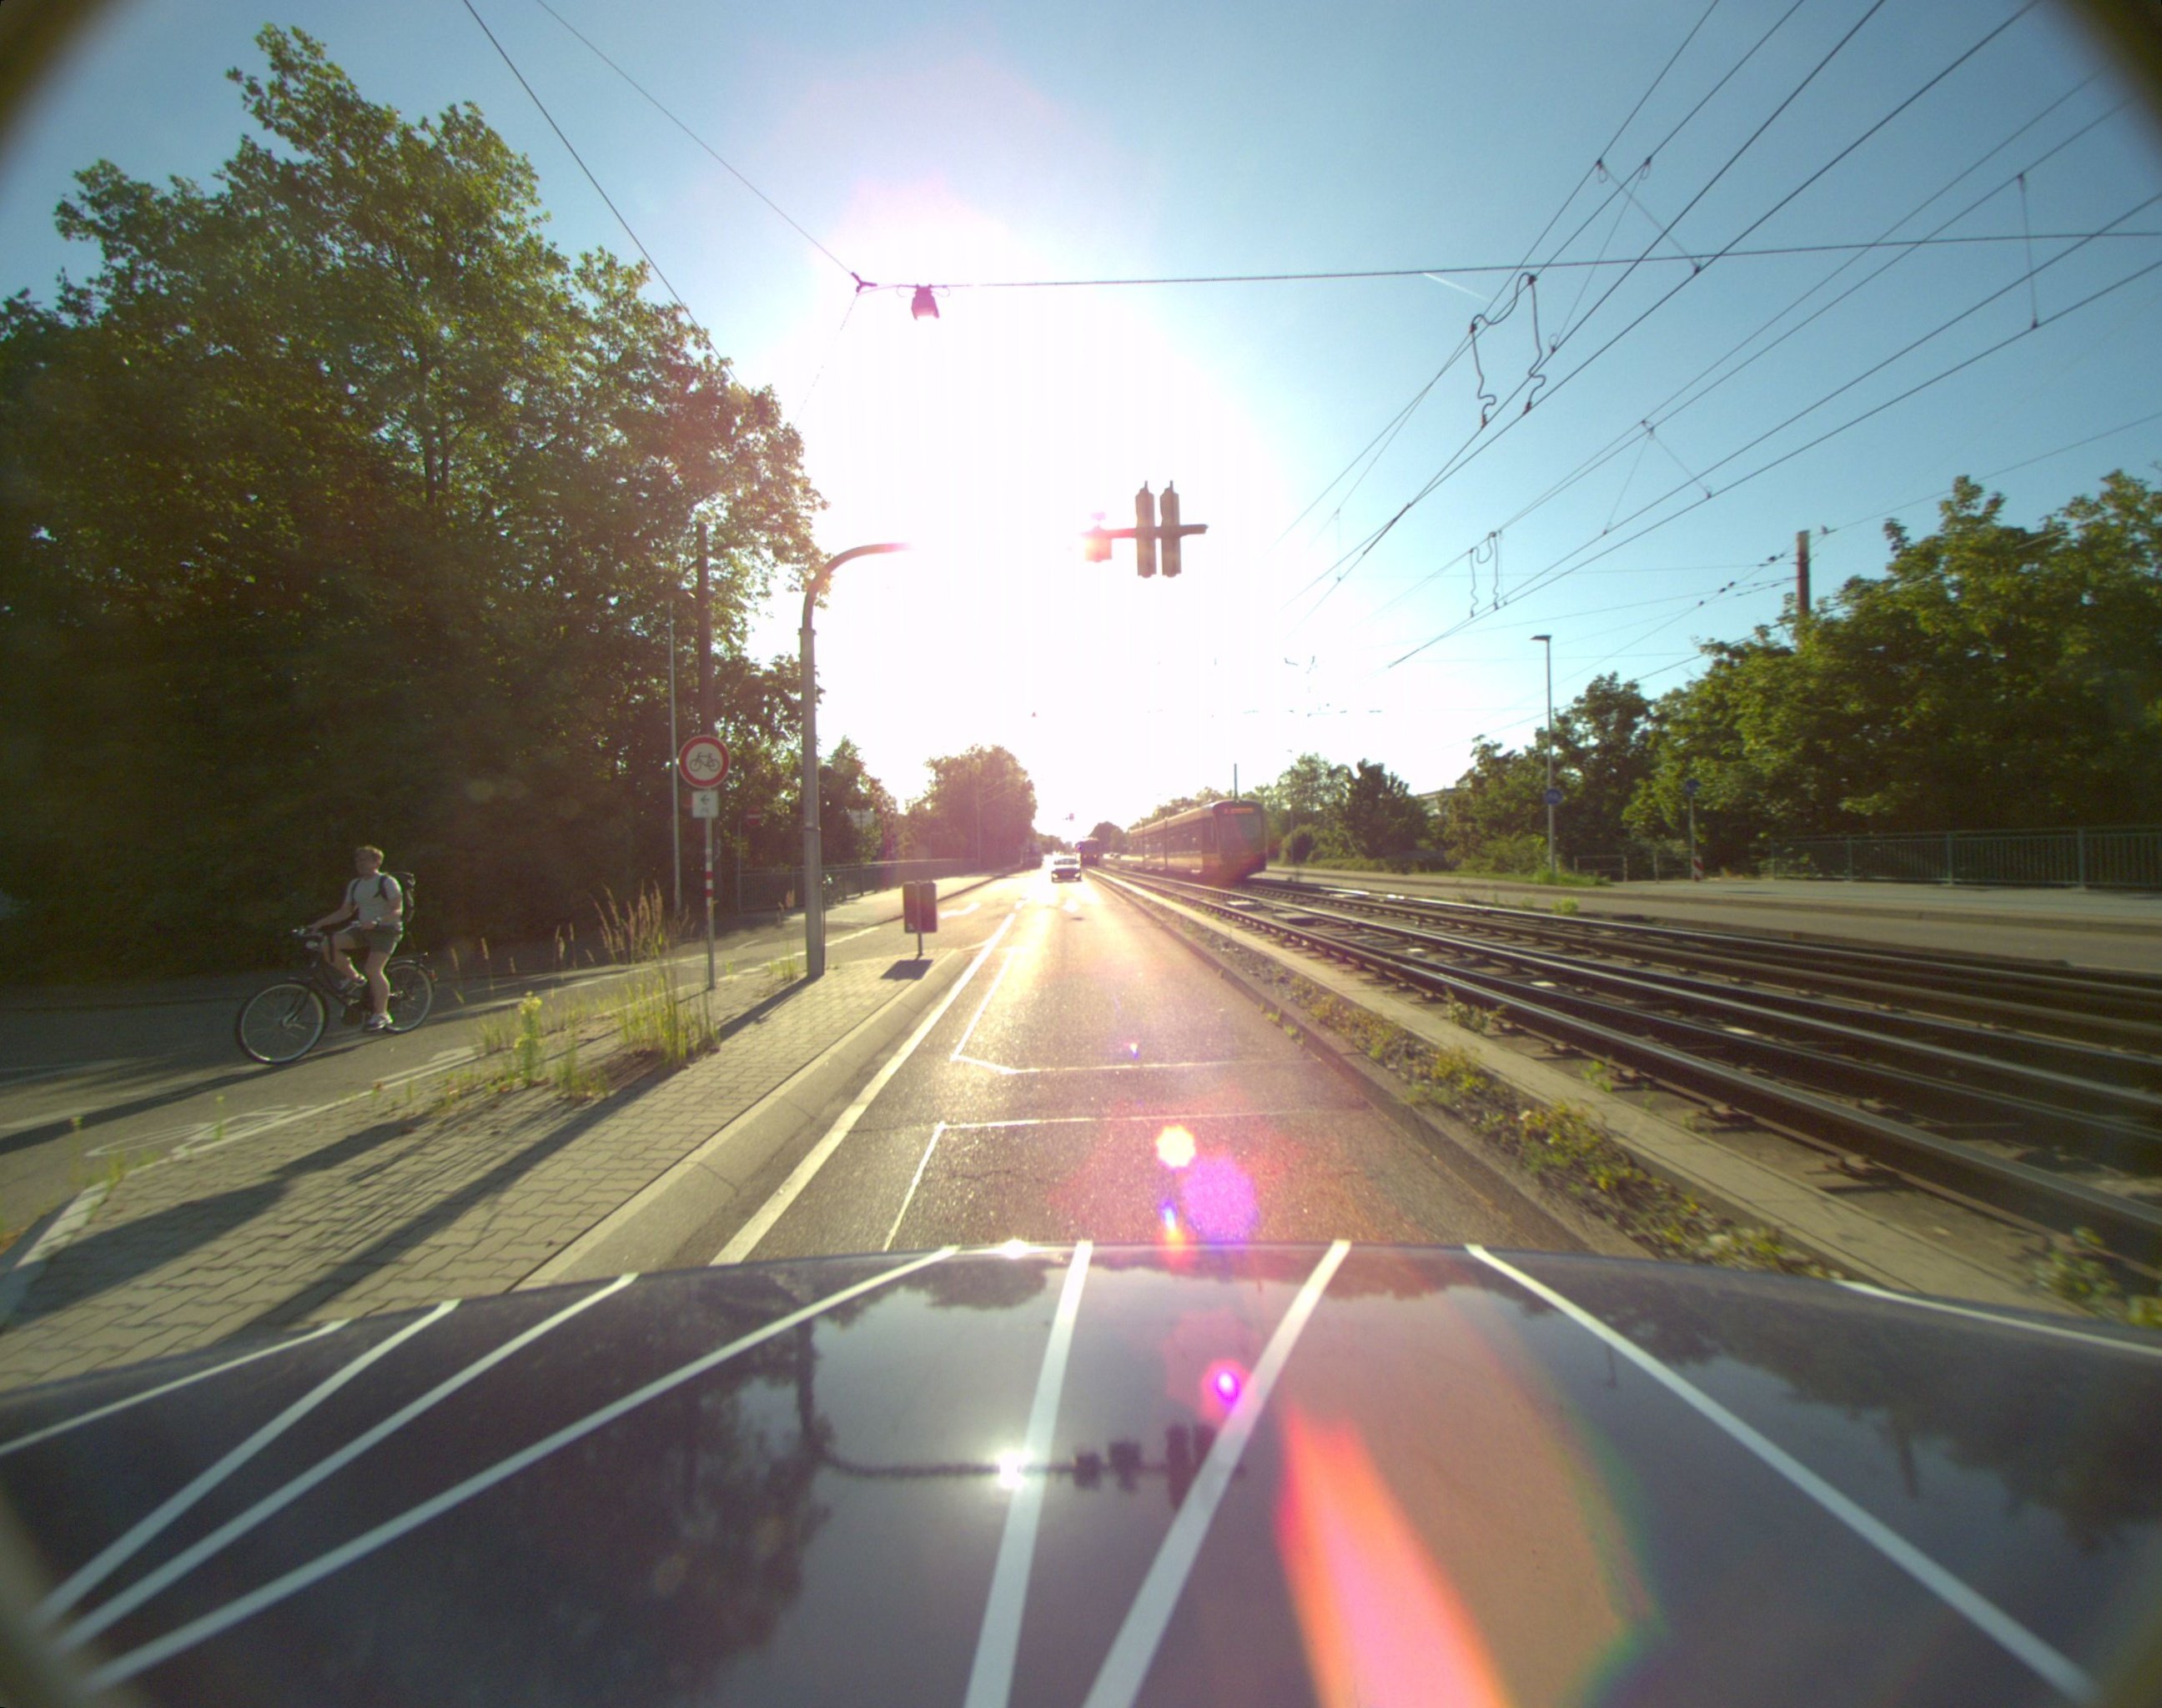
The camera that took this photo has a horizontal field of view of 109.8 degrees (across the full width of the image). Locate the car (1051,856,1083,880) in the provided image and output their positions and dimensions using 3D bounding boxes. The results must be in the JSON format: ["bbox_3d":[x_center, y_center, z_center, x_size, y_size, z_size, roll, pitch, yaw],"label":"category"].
[{"bbox_3d":[-0.858,0.793,44.983,1.802,1.345,3.999,-1,0,-2],"label":"car"}]

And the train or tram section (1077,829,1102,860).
[{"bbox_3d":[1.059,-1.206,102.006,2.569,3.878,11.668,-2,0,-2],"label":"train or tram section"}]

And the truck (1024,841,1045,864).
[{"bbox_3d":[-6.752,-0.283,111.410,2.610,3.186,7.868,-2,0,-2],"label":"truck"}]

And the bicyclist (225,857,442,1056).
[{"bbox_3d":[-6.993,0.894,7.199,0.733,1.679,1.202,-4,0,-1],"label":"bicyclist"}]

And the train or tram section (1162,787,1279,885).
[{"bbox_3d":[6.362,-0.763,37.260,2.986,3.878,12.698,-2,0,-1],"label":"train or tram section"}]

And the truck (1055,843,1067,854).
[{"bbox_3d":[-5.944,-1.634,227.159,3.314,3.283,15.318,-2,0,-2],"label":"truck"}]

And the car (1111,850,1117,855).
[{"bbox_3d":[10.486,-0.414,241.939,1.802,1.345,3.999,-3,1,-2],"label":"car"}]

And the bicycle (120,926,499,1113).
[{"bbox_3d":[-6.941,1.396,7.179,0.733,1.116,2.742,-4,0,-1],"label":"bicycle"}]

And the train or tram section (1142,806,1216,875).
[{"bbox_3d":[6.089,-0.783,49.419,2.984,3.878,11.662,-2,0,-1],"label":"train or tram section"}]

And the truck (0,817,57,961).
[{"bbox_3d":[-34.085,1.092,23.385,9.858,3.974,2.566,-2,1,39],"label":"truck"}]

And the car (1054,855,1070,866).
[{"bbox_3d":[-2.456,0.783,97.170,1.802,1.345,3.999,-1,0,-4],"label":"car"}]

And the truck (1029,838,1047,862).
[{"bbox_3d":[-7.181,-0.716,128.014,2.559,3.826,7.868,-2,0,-2],"label":"truck"}]

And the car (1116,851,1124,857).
[{"bbox_3d":[9.914,0.052,192.854,1.802,1.345,3.999,-3,1,-2],"label":"car"}]

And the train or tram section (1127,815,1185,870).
[{"bbox_3d":[5.831,-0.853,61.773,3.012,3.878,13.078,-2,0,-1],"label":"train or tram section"}]
